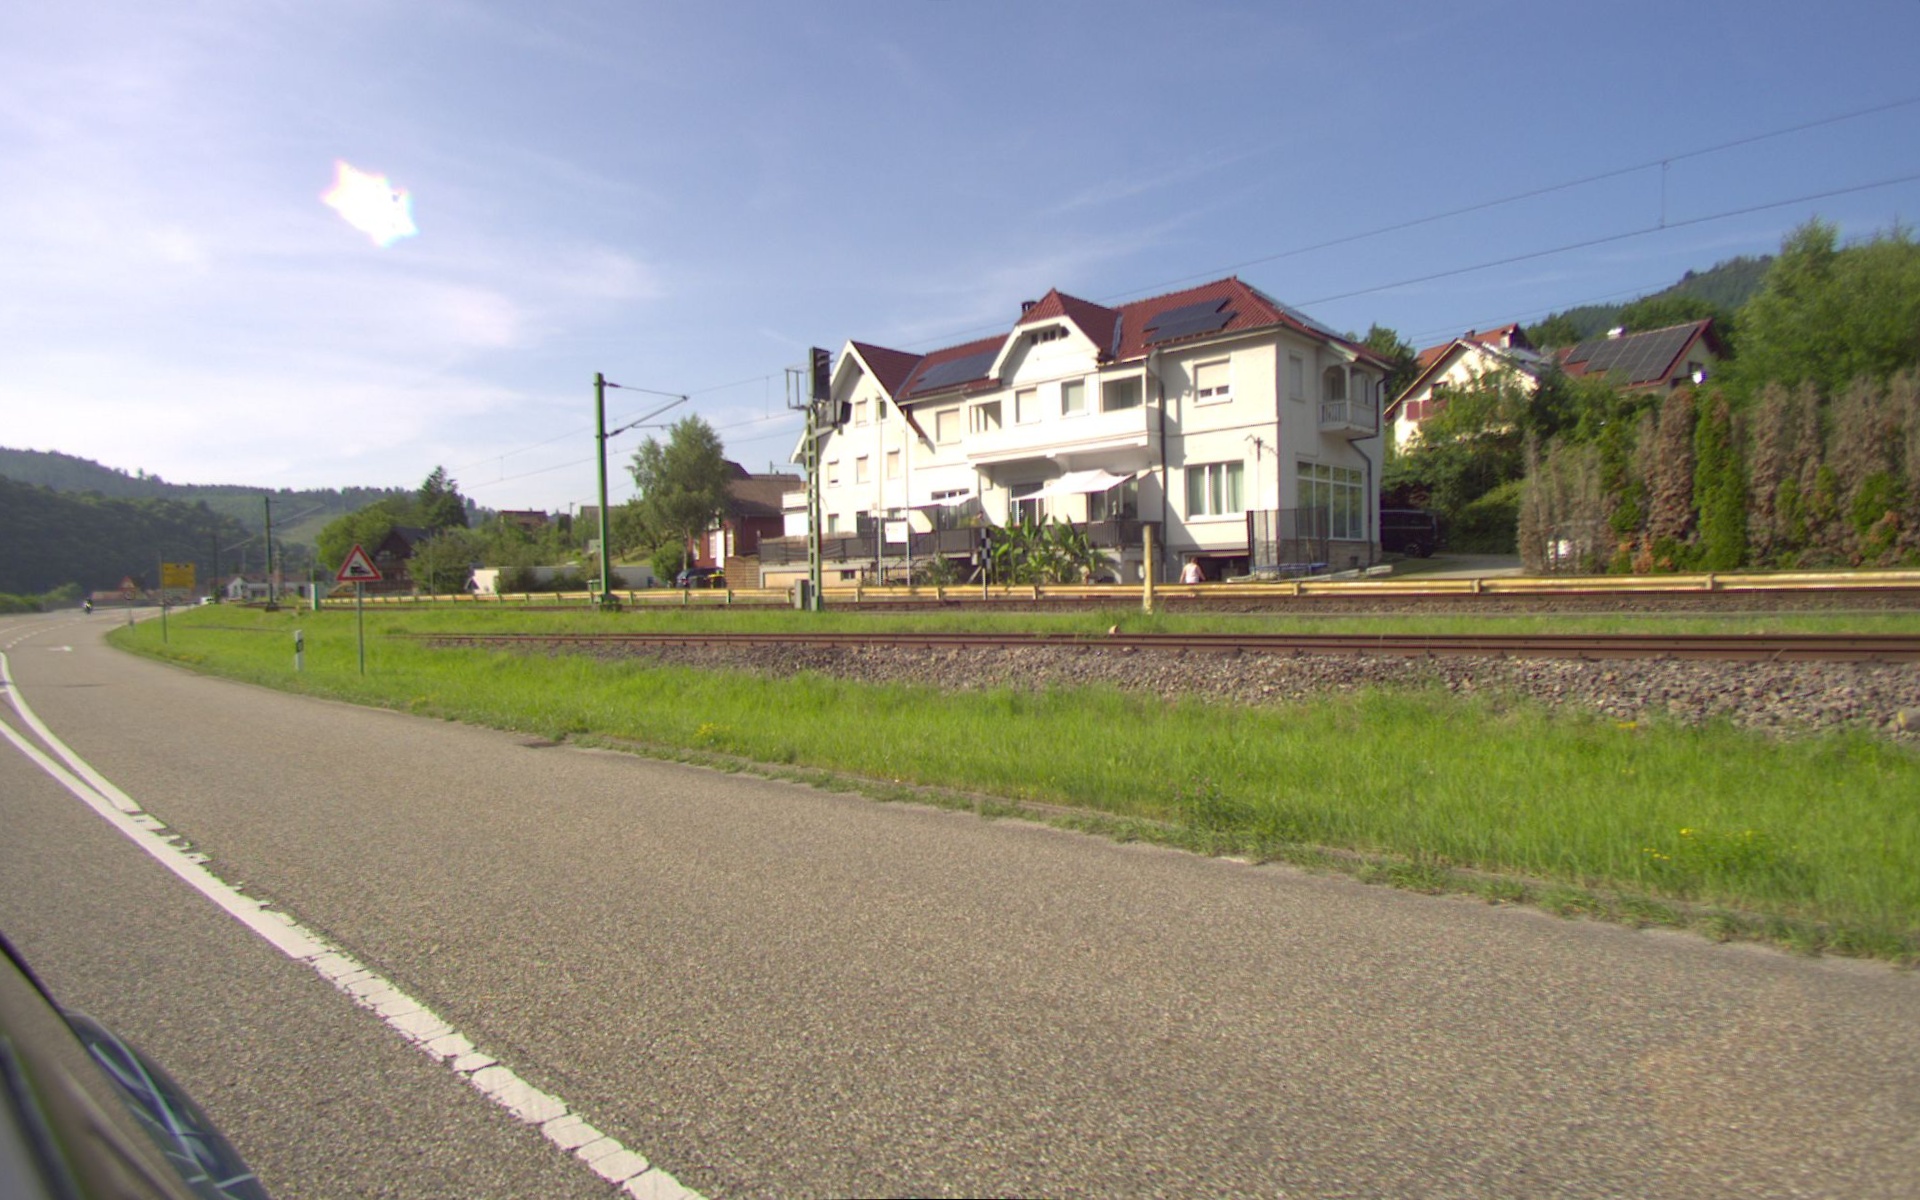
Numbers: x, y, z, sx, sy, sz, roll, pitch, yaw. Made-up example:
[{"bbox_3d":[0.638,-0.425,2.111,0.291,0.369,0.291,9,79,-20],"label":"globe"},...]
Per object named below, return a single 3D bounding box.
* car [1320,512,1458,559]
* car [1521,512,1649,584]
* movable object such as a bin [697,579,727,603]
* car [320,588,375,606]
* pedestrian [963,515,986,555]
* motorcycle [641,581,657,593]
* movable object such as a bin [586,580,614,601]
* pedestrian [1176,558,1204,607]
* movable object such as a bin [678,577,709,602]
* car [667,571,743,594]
[{"bbox_3d":[18.077,-2.693,42.822,4.927,1.875,2.202,3,4,43],"label":"car"},{"bbox_3d":[16.556,-1.347,26.726,2.001,1.704,4.098,-1,1,44],"label":"car"},{"bbox_3d":[-12.970,-0.491,52.960,1.077,1.200,1.144,-3,2,-45],"label":"movable object such as a bin"},{"bbox_3d":[-97.037,-0.443,160.433,6.965,2.475,2.958,-3,1,-22],"label":"car"},{"bbox_3d":[0.605,-2.701,42.009,0.678,1.628,0.600,-1,1,44],"label":"pedestrian"},{"bbox_3d":[-26.699,-1.124,86.797,0.654,1.000,1.746,-3,2,-40],"label":"motorcycle"},{"bbox_3d":[-21.536,-0.579,60.539,1.092,1.200,1.128,-1,2,40],"label":"movable object such as a bin"},{"bbox_3d":[7.777,-0.585,34.209,0.608,1.628,0.669,-1,1,40],"label":"pedestrian"},{"bbox_3d":[-13.716,-0.531,52.072,1.077,1.200,1.144,-3,2,-45],"label":"movable object such as a bin"},{"bbox_3d":[-15.368,-1.063,61.061,4.039,1.280,1.741,-3,1,-34],"label":"car"}]
